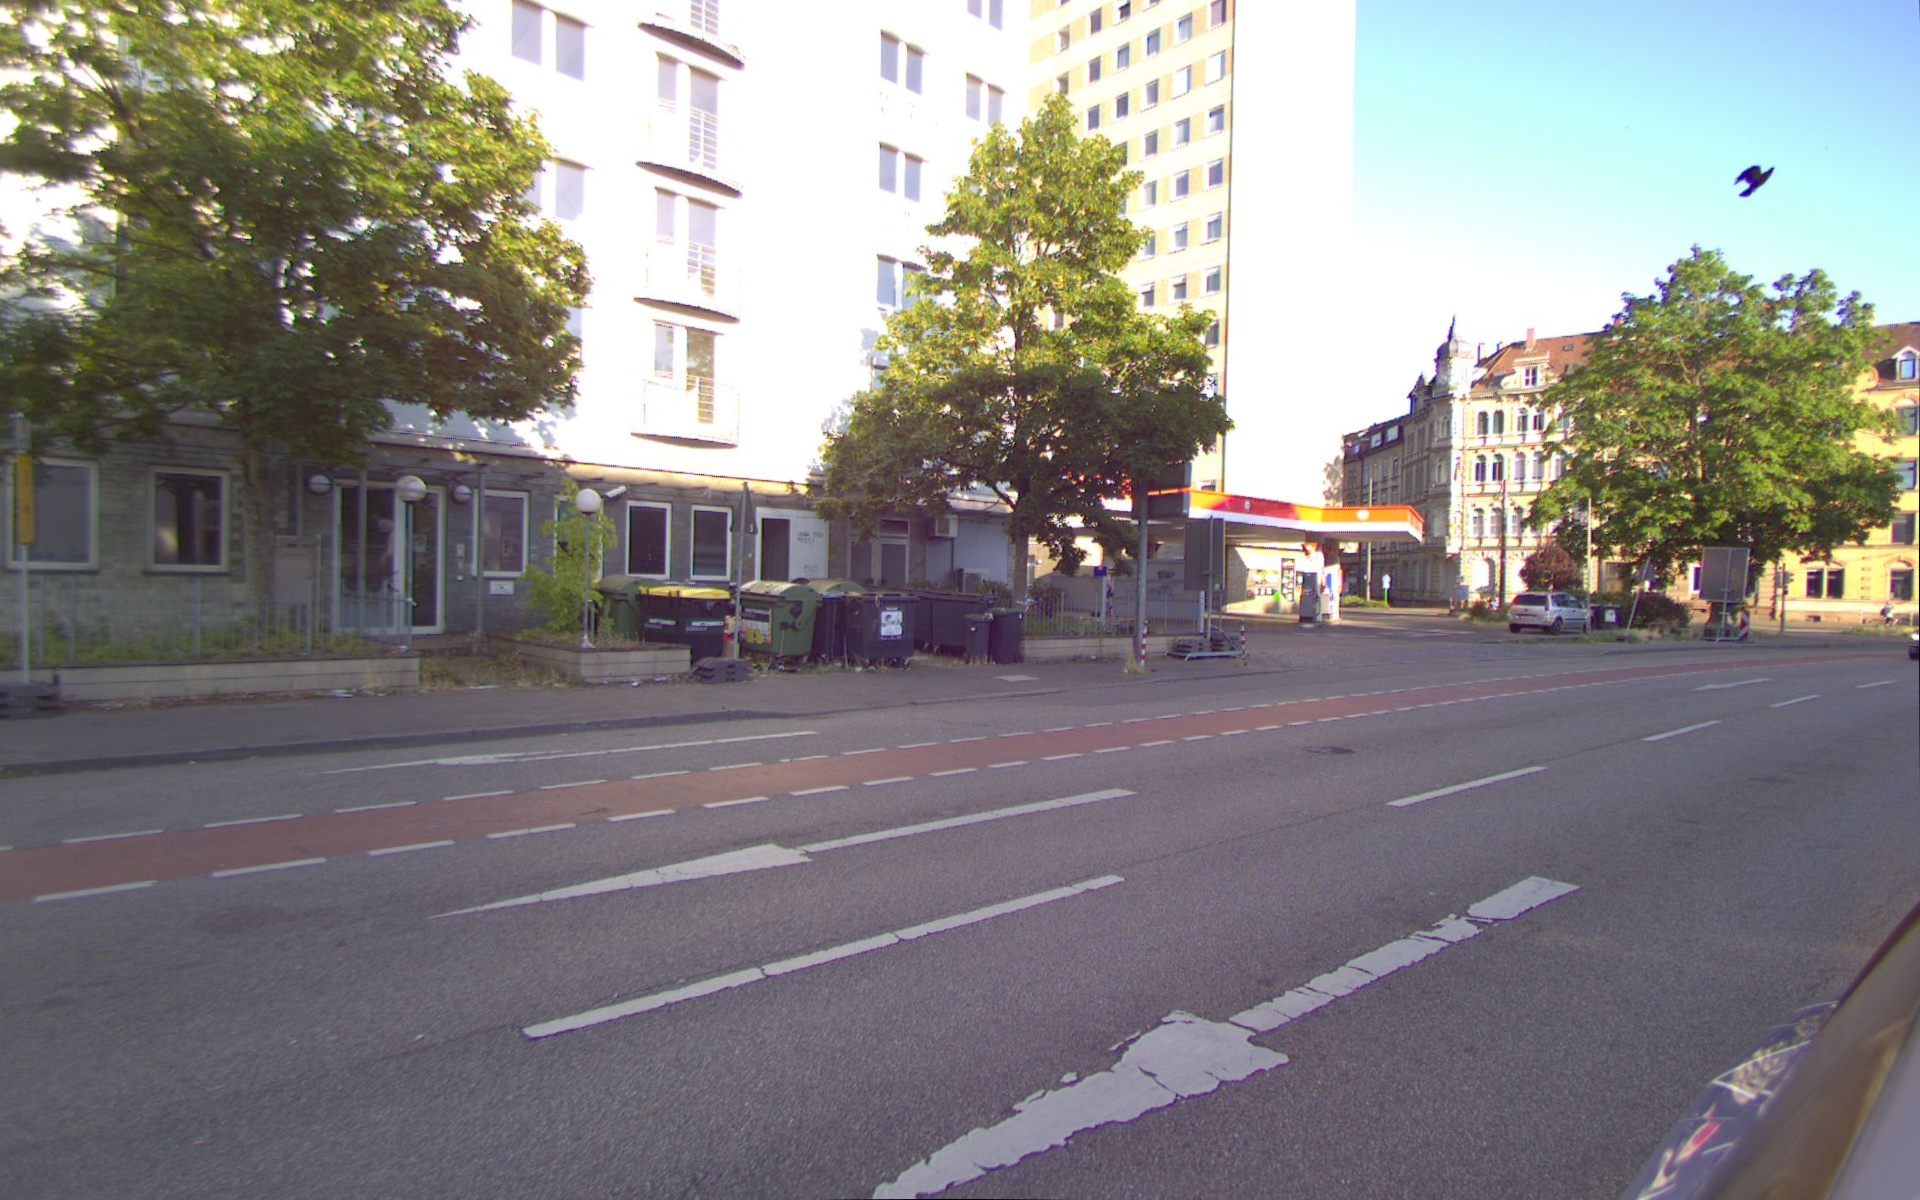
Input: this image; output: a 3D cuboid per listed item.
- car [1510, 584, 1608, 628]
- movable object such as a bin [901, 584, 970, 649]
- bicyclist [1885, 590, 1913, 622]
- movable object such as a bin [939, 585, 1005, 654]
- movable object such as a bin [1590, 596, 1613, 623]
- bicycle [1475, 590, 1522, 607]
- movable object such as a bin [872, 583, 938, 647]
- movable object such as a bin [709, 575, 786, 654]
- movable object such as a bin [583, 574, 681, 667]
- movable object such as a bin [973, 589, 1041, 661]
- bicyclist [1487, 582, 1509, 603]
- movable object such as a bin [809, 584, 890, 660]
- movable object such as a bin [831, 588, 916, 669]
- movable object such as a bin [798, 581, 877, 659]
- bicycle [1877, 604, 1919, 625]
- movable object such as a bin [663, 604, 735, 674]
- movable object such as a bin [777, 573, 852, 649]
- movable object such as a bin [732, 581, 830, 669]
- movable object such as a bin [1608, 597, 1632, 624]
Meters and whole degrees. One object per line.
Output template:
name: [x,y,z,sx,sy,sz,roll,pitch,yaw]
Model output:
car: [22.244,0.181,37.547,3.723,1.535,1.691,-1,2,-34]
movable object such as a bin: [-0.519,0.330,21.371,1.080,1.299,0.954,0,1,-43]
bicyclist: [50.187,0.315,54.119,1.062,1.669,0.721,2,1,43]
movable object such as a bin: [0.248,0.369,20.635,0.938,1.345,0.954,0,1,-43]
movable object such as a bin: [25.596,0.378,40.408,0.674,1.031,0.544,0,1,-36]
bicycle: [35.224,-0.069,66.248,2.613,1.083,0.772,0,0,44]
movable object such as a bin: [-1.201,0.311,22.110,1.080,1.345,0.954,0,1,-43]
movable object such as a bin: [-4.275,0.274,20.403,1.143,1.517,1.033,0,1,-43]
movable object such as a bin: [-5.572,0.315,17.190,1.088,1.479,1.348,0,1,-45]
movable object such as a bin: [0.927,0.468,19.928,0.938,1.345,0.954,0,1,-43]
bicyclist: [35.240,-0.498,66.280,1.065,1.382,0.841,-1,0,43]
movable object such as a bin: [-2.058,0.382,18.831,1.143,1.345,0.954,0,1,-43]
movable object such as a bin: [-1.528,0.473,17.853,1.143,1.345,0.954,0,1,-43]
movable object such as a bin: [-2.412,0.363,19.963,1.143,1.467,1.033,0,1,-43]
bicycle: [50.159,0.783,53.910,1.921,1.072,0.444,2,1,43]
movable object such as a bin: [-4.190,0.606,16.251,0.806,1.058,0.851,0,1,-45]
movable object such as a bin: [-3.016,0.211,20.996,1.143,1.517,1.033,0,1,-43]
movable object such as a bin: [-3.115,0.400,17.592,1.088,1.441,1.348,0,1,-45]
movable object such as a bin: [25.906,0.393,39.721,0.674,1.031,0.544,0,1,-36]
